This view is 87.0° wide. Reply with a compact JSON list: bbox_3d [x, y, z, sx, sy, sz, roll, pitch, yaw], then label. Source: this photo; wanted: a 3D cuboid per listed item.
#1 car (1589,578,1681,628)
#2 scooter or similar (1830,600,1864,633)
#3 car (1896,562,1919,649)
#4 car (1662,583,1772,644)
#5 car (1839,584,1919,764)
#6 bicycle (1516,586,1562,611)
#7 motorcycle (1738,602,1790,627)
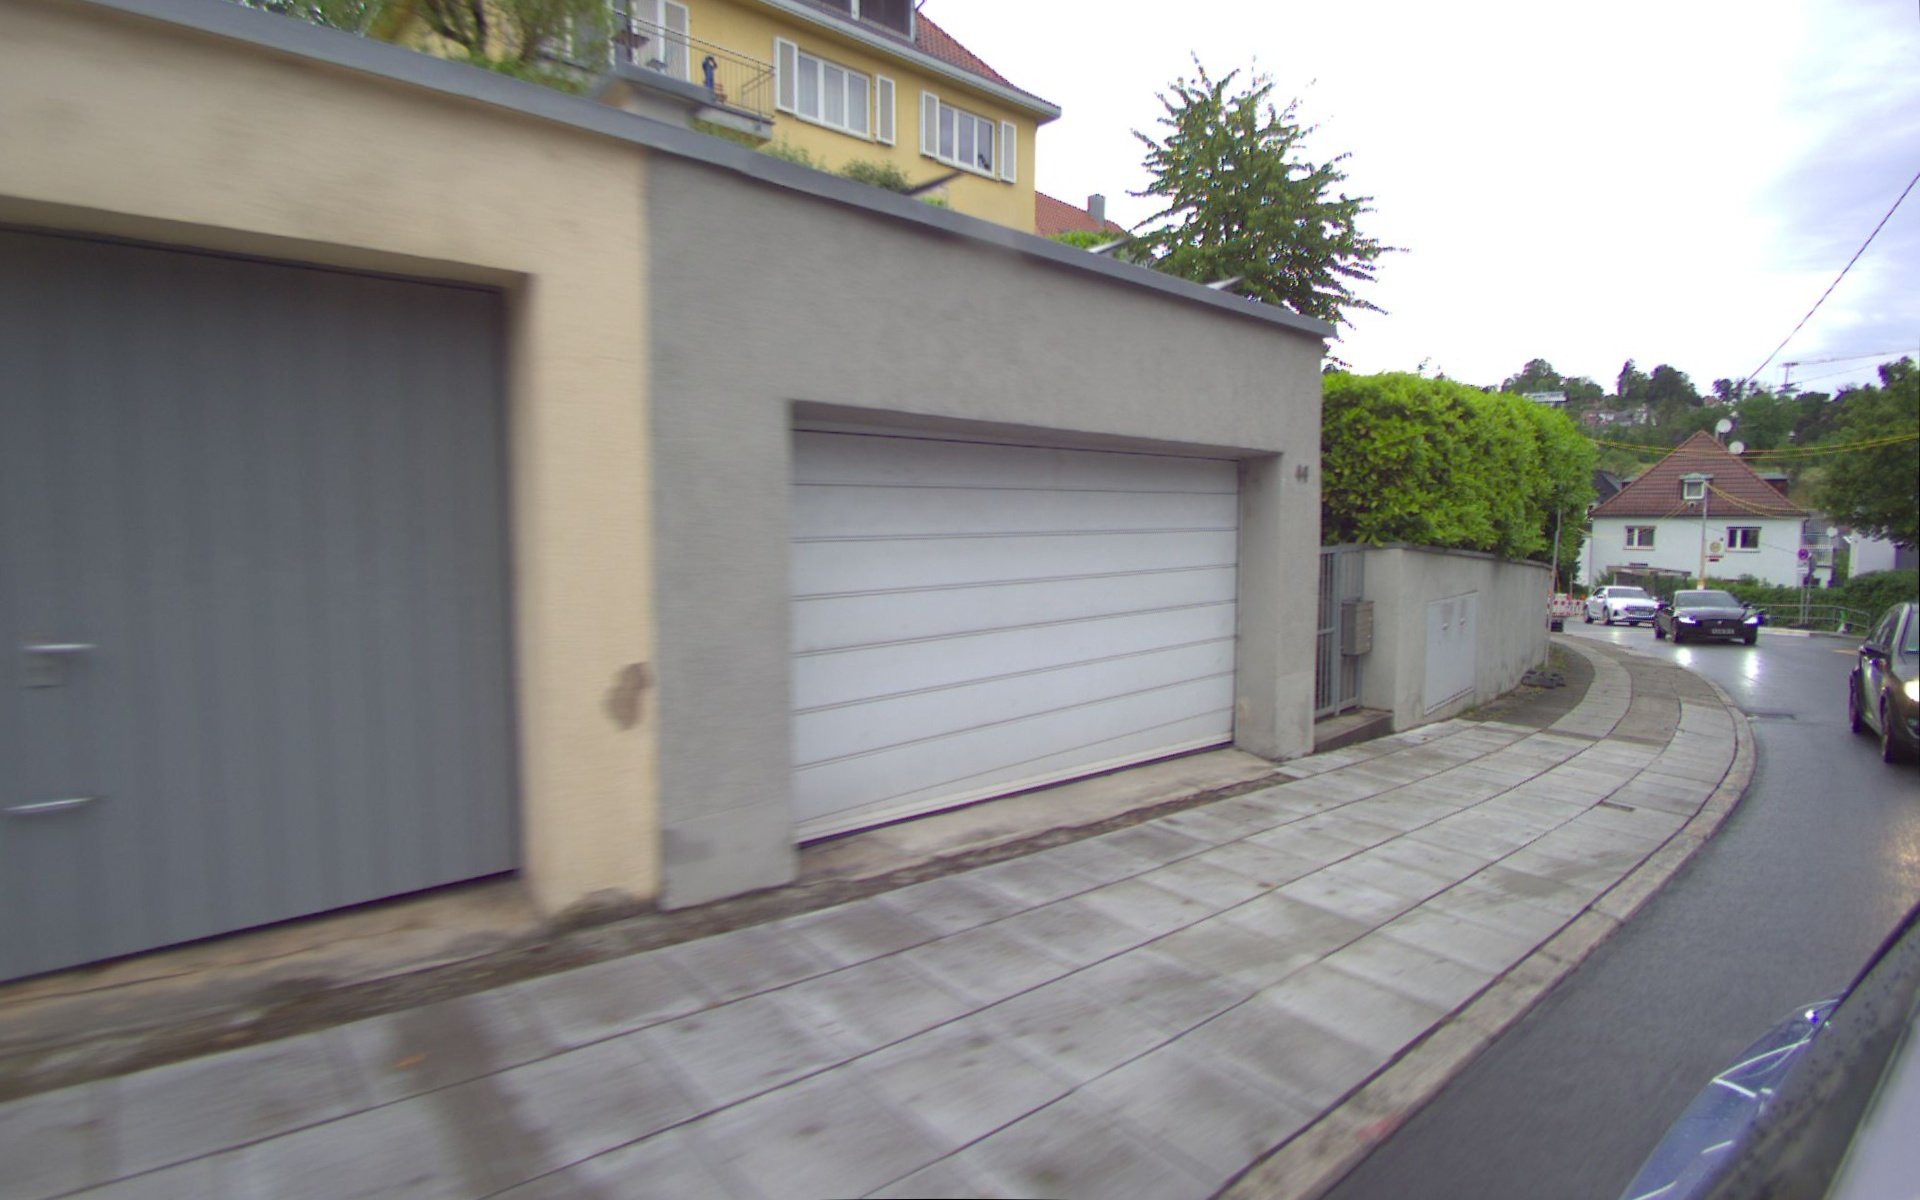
[{"bbox_3d":[27.324,0.054,41.145,1.977,1.729,4.545,3,3,20],"label":"car"},{"bbox_3d":[31.545,0.579,35.999,0.319,1.094,1.093,3,2,8],"label":"scooter or similar"},{"bbox_3d":[21.343,0.201,20.631,1.885,1.912,5.105,4,3,27],"label":"car"},{"bbox_3d":[20.978,0.310,28.209,1.828,1.420,4.031,4,3,29],"label":"car"},{"bbox_3d":[10.040,0.643,9.909,1.666,1.484,4.655,4,3,36],"label":"car"},{"bbox_3d":[34.971,-0.086,61.127,2.197,1.378,0.808,3,2,5],"label":"bicycle"},{"bbox_3d":[32.643,0.578,41.144,0.657,0.945,2.006,3,1,7],"label":"motorcycle"}]
